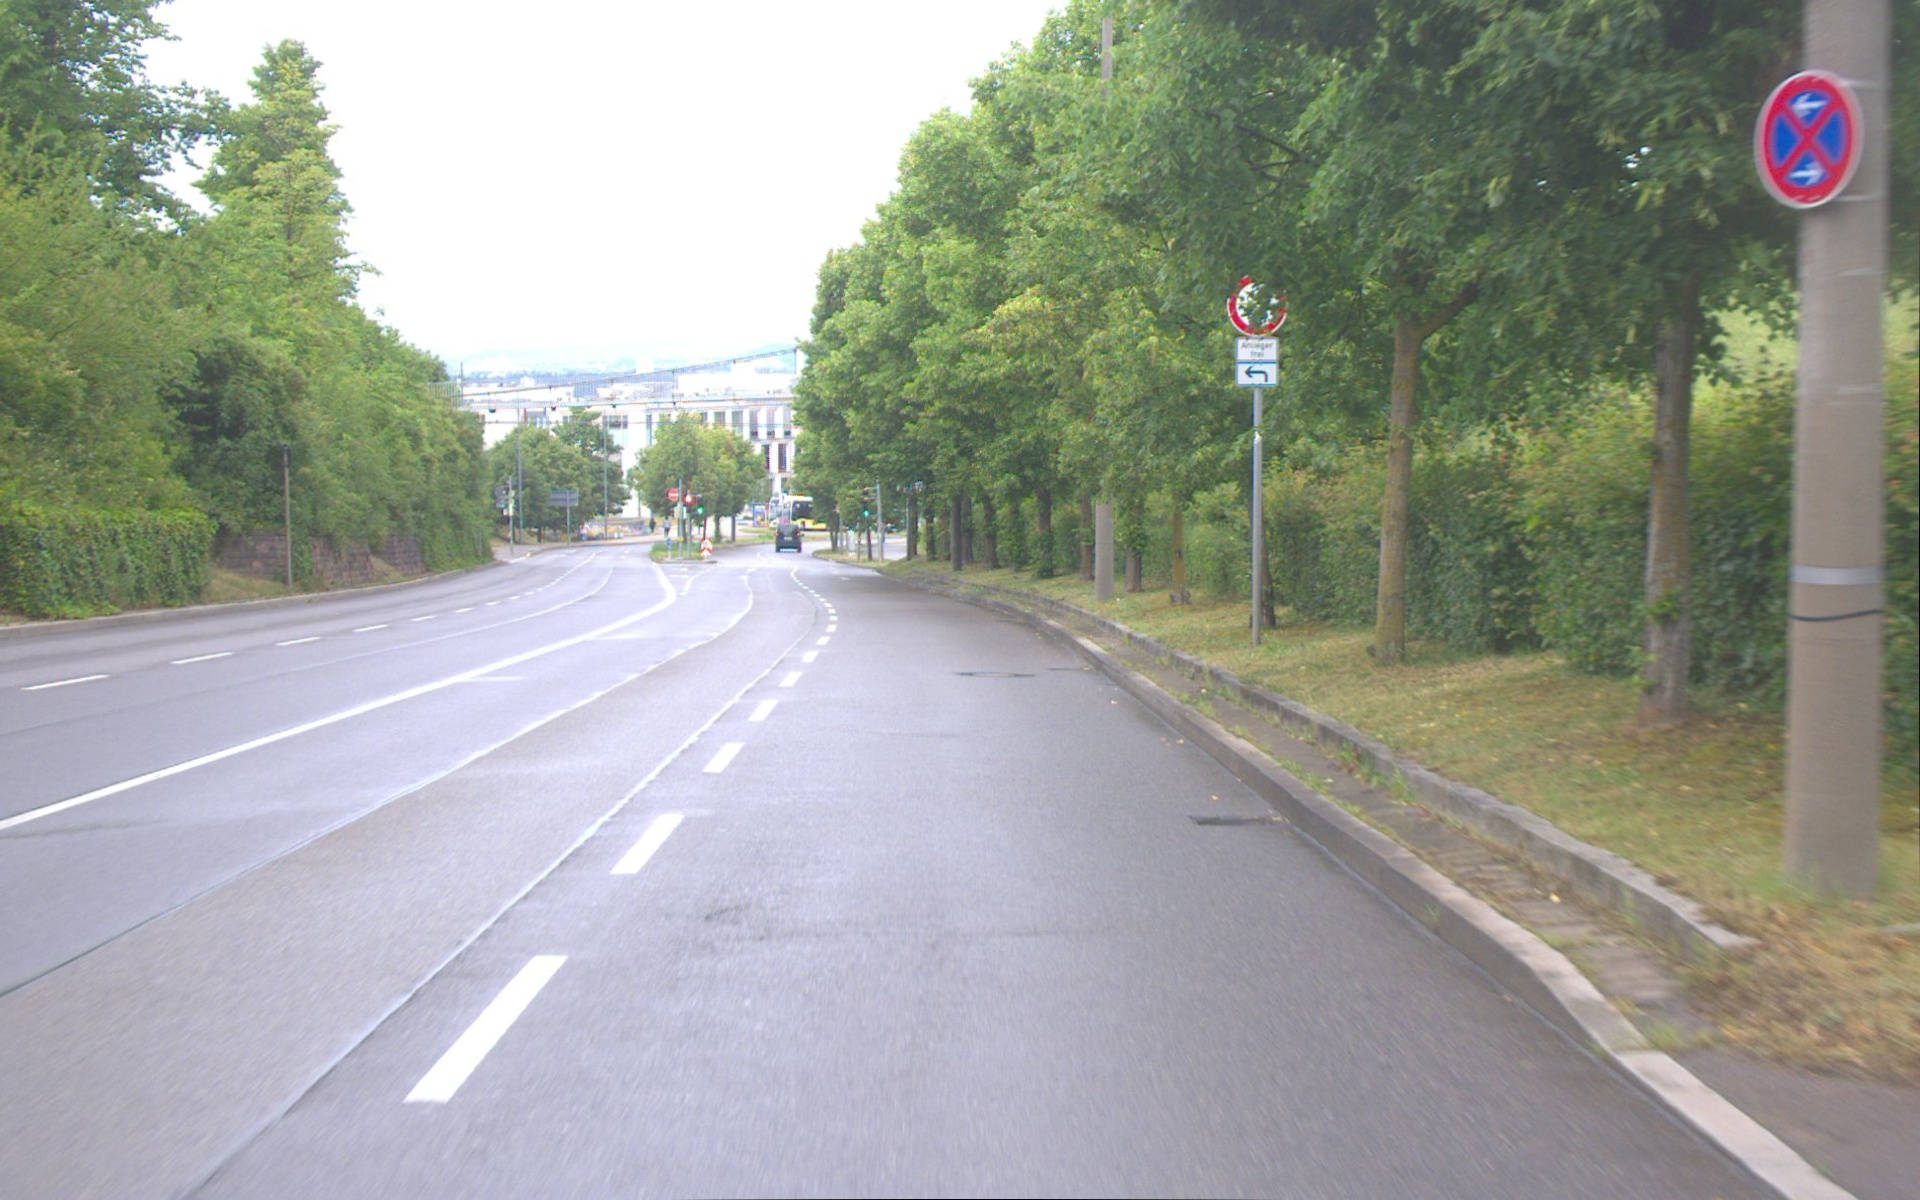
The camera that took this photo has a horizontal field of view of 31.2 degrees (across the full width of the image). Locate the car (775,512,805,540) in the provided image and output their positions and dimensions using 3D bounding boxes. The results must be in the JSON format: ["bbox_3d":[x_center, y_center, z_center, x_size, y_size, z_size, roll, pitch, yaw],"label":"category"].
[{"bbox_3d":[-11.163,-4.833,225.826,1.849,1.696,3.793,2,0,-2],"label":"car"}]
